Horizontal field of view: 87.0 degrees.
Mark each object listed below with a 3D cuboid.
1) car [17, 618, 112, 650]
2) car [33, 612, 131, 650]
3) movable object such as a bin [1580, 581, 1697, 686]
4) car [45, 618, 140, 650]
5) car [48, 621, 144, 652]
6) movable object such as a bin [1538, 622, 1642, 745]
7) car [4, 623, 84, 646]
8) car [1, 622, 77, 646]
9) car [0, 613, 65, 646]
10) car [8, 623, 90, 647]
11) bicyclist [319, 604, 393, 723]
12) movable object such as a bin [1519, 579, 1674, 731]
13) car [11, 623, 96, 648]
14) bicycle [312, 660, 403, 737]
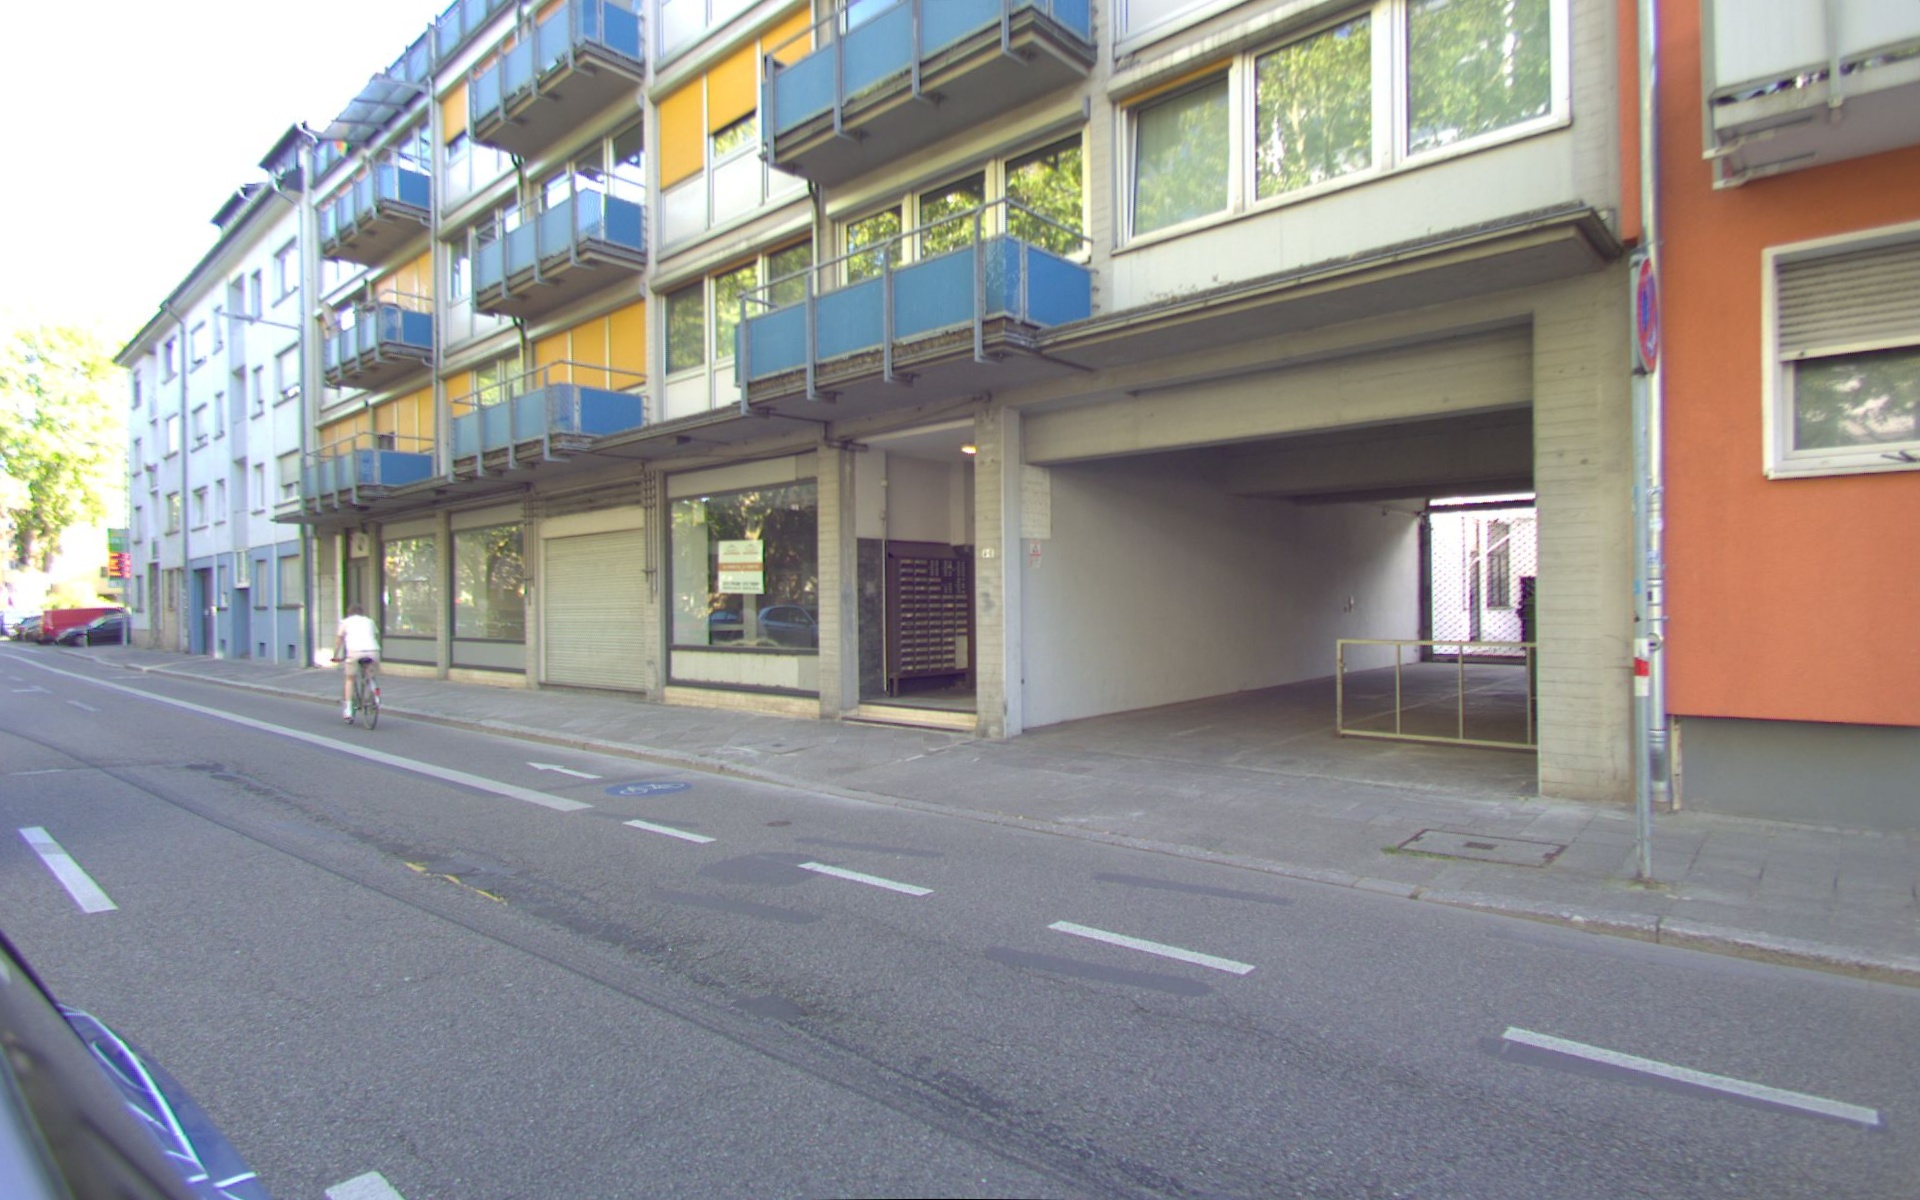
[{"bbox_3d":[-50.016,1.861,56.592,1.604,1.598,3.854,-1,0,43],"label":"car"},{"bbox_3d":[-47.698,1.640,55.008,1.749,1.921,3.853,-1,0,43],"label":"car"},{"bbox_3d":[10.281,0.474,15.344,1.281,1.497,1.146,-1,0,44],"label":"movable object such as a bin"},{"bbox_3d":[-45.537,1.773,53.152,1.602,1.521,3.619,-1,0,43],"label":"car"},{"bbox_3d":[-43.850,1.819,51.424,1.534,1.420,3.550,-2,0,43],"label":"car"},{"bbox_3d":[5.798,0.741,9.316,0.703,1.055,0.563,-1,0,44],"label":"movable object such as a bin"},{"bbox_3d":[-60.953,2.285,67.396,1.526,1.343,3.854,-1,0,43],"label":"car"},{"bbox_3d":[-62.951,2.276,69.191,1.539,1.451,3.732,-1,0,43],"label":"car"},{"bbox_3d":[-66.399,2.059,72.085,1.725,2.193,3.854,-1,0,43],"label":"car"},{"bbox_3d":[-59.175,2.260,65.801,1.526,1.343,3.854,-1,0,43],"label":"car"},{"bbox_3d":[-8.295,0.843,13.905,0.806,1.570,0.641,-1,0,42],"label":"bicyclist"},{"bbox_3d":[6.741,0.533,10.707,1.143,1.476,1.246,-1,0,44],"label":"movable object such as a bin"},{"bbox_3d":[-57.194,2.198,63.885,1.595,1.385,3.854,-1,0,43],"label":"car"},{"bbox_3d":[-8.293,1.319,13.892,1.867,0.898,0.542,-1,0,42],"label":"bicycle"}]
